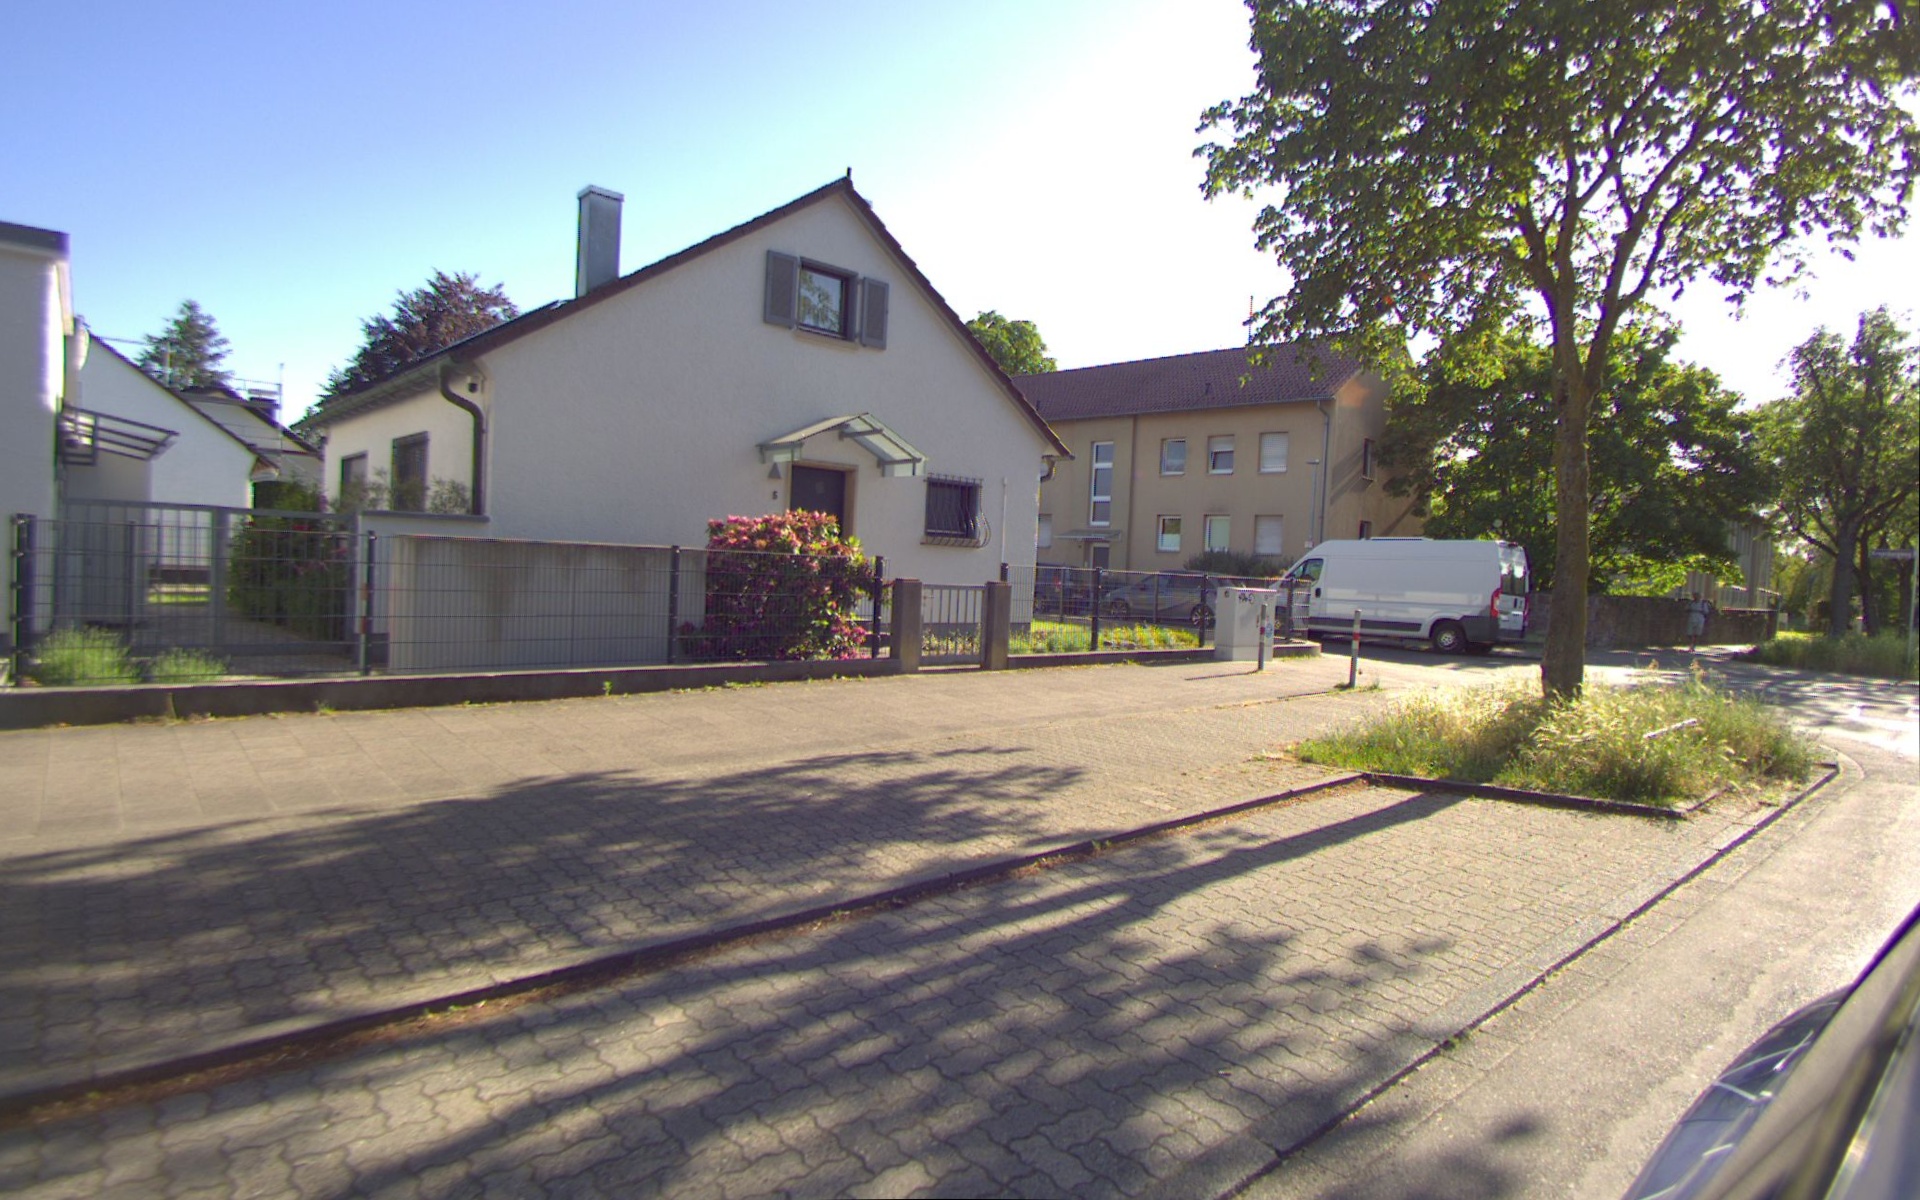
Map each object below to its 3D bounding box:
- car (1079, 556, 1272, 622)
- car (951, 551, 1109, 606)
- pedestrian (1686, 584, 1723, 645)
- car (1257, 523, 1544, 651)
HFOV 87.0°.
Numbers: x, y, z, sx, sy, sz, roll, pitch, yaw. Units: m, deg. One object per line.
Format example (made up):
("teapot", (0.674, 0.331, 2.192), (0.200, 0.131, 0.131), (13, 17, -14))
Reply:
("car", (5.849, -0.331, 27.901), (2.247, 1.601, 4.745), (3, 0, -44))
("car", (2.146, -0.721, 32.054), (2.248, 1.601, 4.745), (-1, 3, -44))
("pedestrian", (22.118, 0.436, 30.075), (0.601, 1.726, 0.638), (3, 3, -43))
("car", (10.047, -0.404, 23.486), (2.228, 2.570, 5.601), (1, 2, -44))
